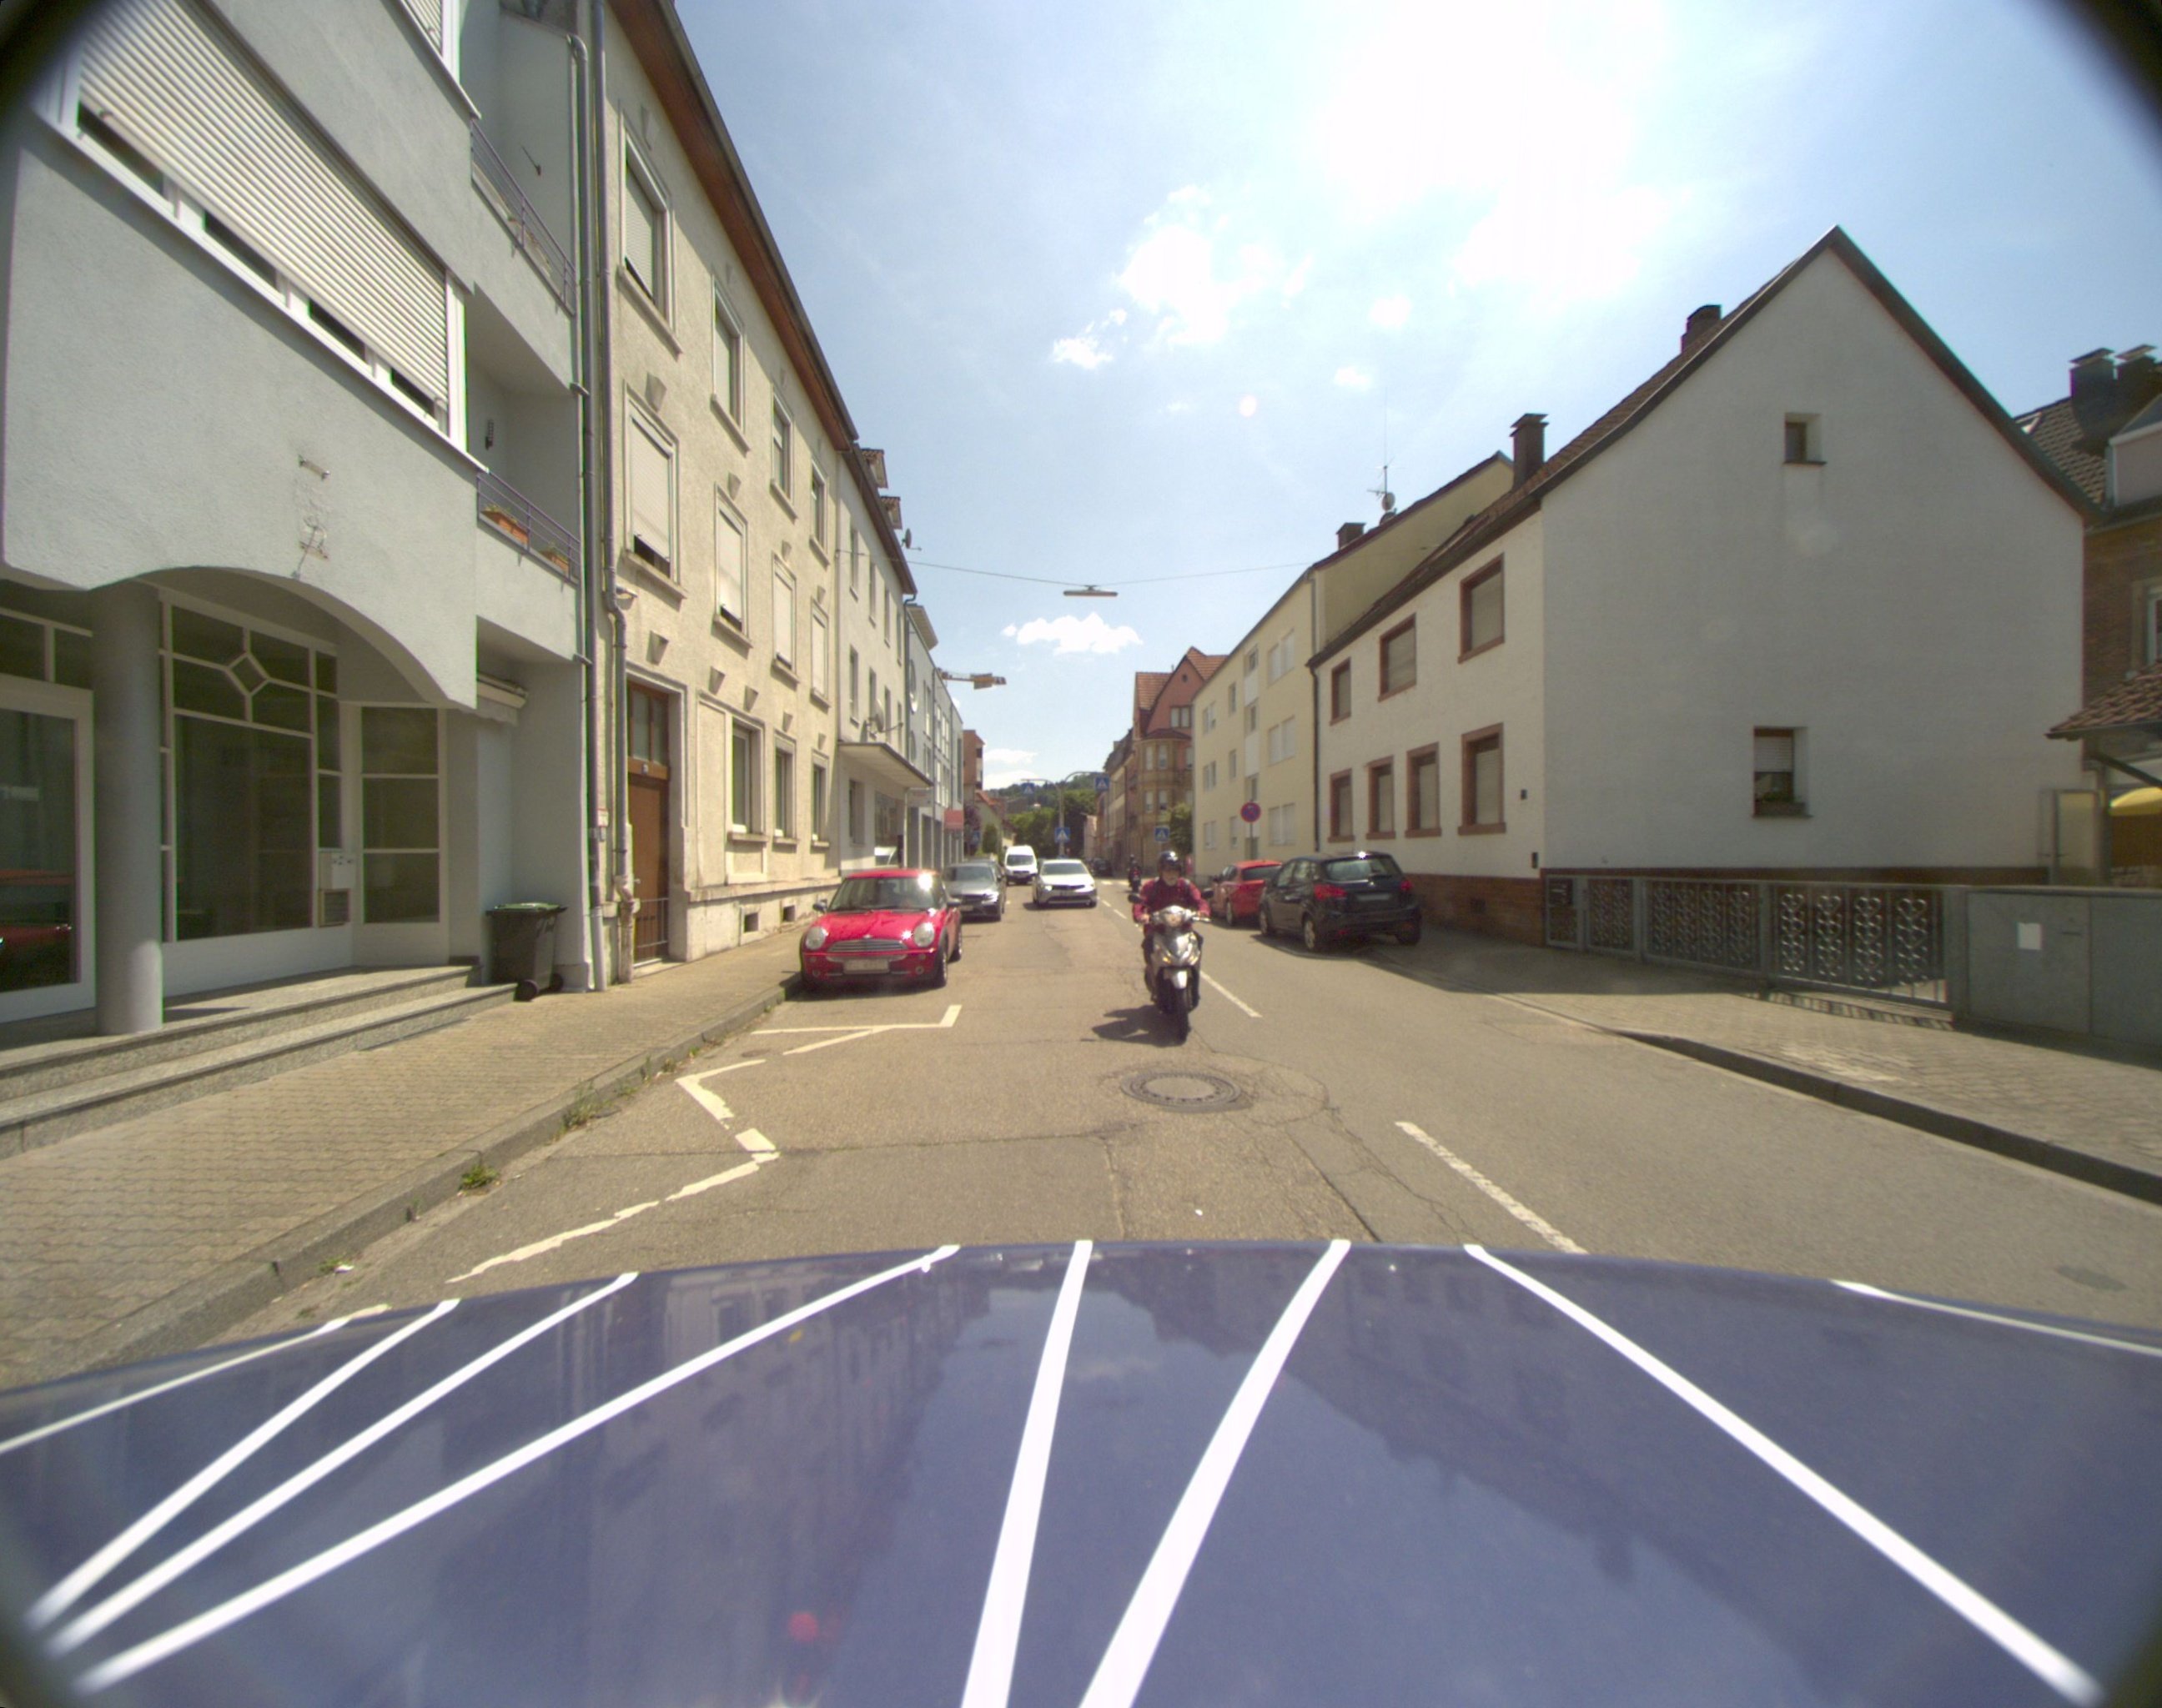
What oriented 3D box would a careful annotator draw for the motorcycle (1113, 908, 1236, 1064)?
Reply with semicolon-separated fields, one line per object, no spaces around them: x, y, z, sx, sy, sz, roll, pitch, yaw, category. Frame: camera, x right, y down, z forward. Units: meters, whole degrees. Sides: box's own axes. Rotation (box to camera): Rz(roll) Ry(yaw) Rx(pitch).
0.772;1.093;6.888;0.760;1.049;1.991;-1;0;-3;motorcycle

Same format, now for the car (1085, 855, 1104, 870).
1.362;0.845;76.961;1.639;1.423;4.017;1;0;-2;car

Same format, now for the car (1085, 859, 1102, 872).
1.304;1.260;83.671;1.603;1.433;3.494;0;0;-4;car

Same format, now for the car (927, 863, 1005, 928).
-2.886;0.991;19.870;1.734;1.412;4.542;-1;0;-5;car

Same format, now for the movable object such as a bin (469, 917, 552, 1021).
-5.551;1.100;7.417;0.474;0.929;0.487;0;1;-11;movable object such as a bin

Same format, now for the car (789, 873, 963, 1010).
-2.524;1.007;10.137;1.623;1.377;3.537;-1;0;-5;car

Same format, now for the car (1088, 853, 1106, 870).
1.432;0.677;68.460;1.440;1.514;2.694;0;0;-3;car

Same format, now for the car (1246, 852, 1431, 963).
4.389;0.807;13.611;1.799;1.637;3.943;-2;0;-3;car

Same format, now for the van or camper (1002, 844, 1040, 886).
-3.380;0.623;43.610;1.999;2.273;5.143;0;0;-3;van or camper

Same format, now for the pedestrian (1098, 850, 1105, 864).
2.674;0.447;98.001;0.770;1.761;0.763;-2;0;-3;pedestrian

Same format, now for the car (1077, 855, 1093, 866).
0.473;0.838;98.882;1.883;1.501;4.380;0;0;-2;car

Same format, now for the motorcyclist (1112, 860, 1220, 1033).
0.742;0.786;6.933;0.793;1.431;1.020;-1;0;-3;motorcyclist

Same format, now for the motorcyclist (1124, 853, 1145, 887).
2.355;0.689;33.513;0.825;1.500;1.056;0;1;-2;motorcyclist

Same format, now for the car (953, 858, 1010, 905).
-3.470;0.932;27.115;1.714;1.499;3.998;-1;0;-3;car

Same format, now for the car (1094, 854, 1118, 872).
2.055;0.720;63.799;1.787;1.449;4.633;0;0;-1;car

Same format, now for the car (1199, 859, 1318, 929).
4.137;0.872;18.434;1.838;1.408;4.289;-1;0;-1;car

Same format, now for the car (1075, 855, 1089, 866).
0.114;0.923;107.435;1.715;1.451;3.852;1;0;-3;car

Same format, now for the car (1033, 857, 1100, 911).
-0.549;0.879;23.982;1.813;1.512;3.998;-1;0;-5;car

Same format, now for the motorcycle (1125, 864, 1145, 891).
2.365;1.020;33.407;0.689;1.116;2.027;0;0;-2;motorcycle

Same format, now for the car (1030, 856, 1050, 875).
-4.563;1.298;85.089;1.999;2.002;3.999;-2;0;-1;car
